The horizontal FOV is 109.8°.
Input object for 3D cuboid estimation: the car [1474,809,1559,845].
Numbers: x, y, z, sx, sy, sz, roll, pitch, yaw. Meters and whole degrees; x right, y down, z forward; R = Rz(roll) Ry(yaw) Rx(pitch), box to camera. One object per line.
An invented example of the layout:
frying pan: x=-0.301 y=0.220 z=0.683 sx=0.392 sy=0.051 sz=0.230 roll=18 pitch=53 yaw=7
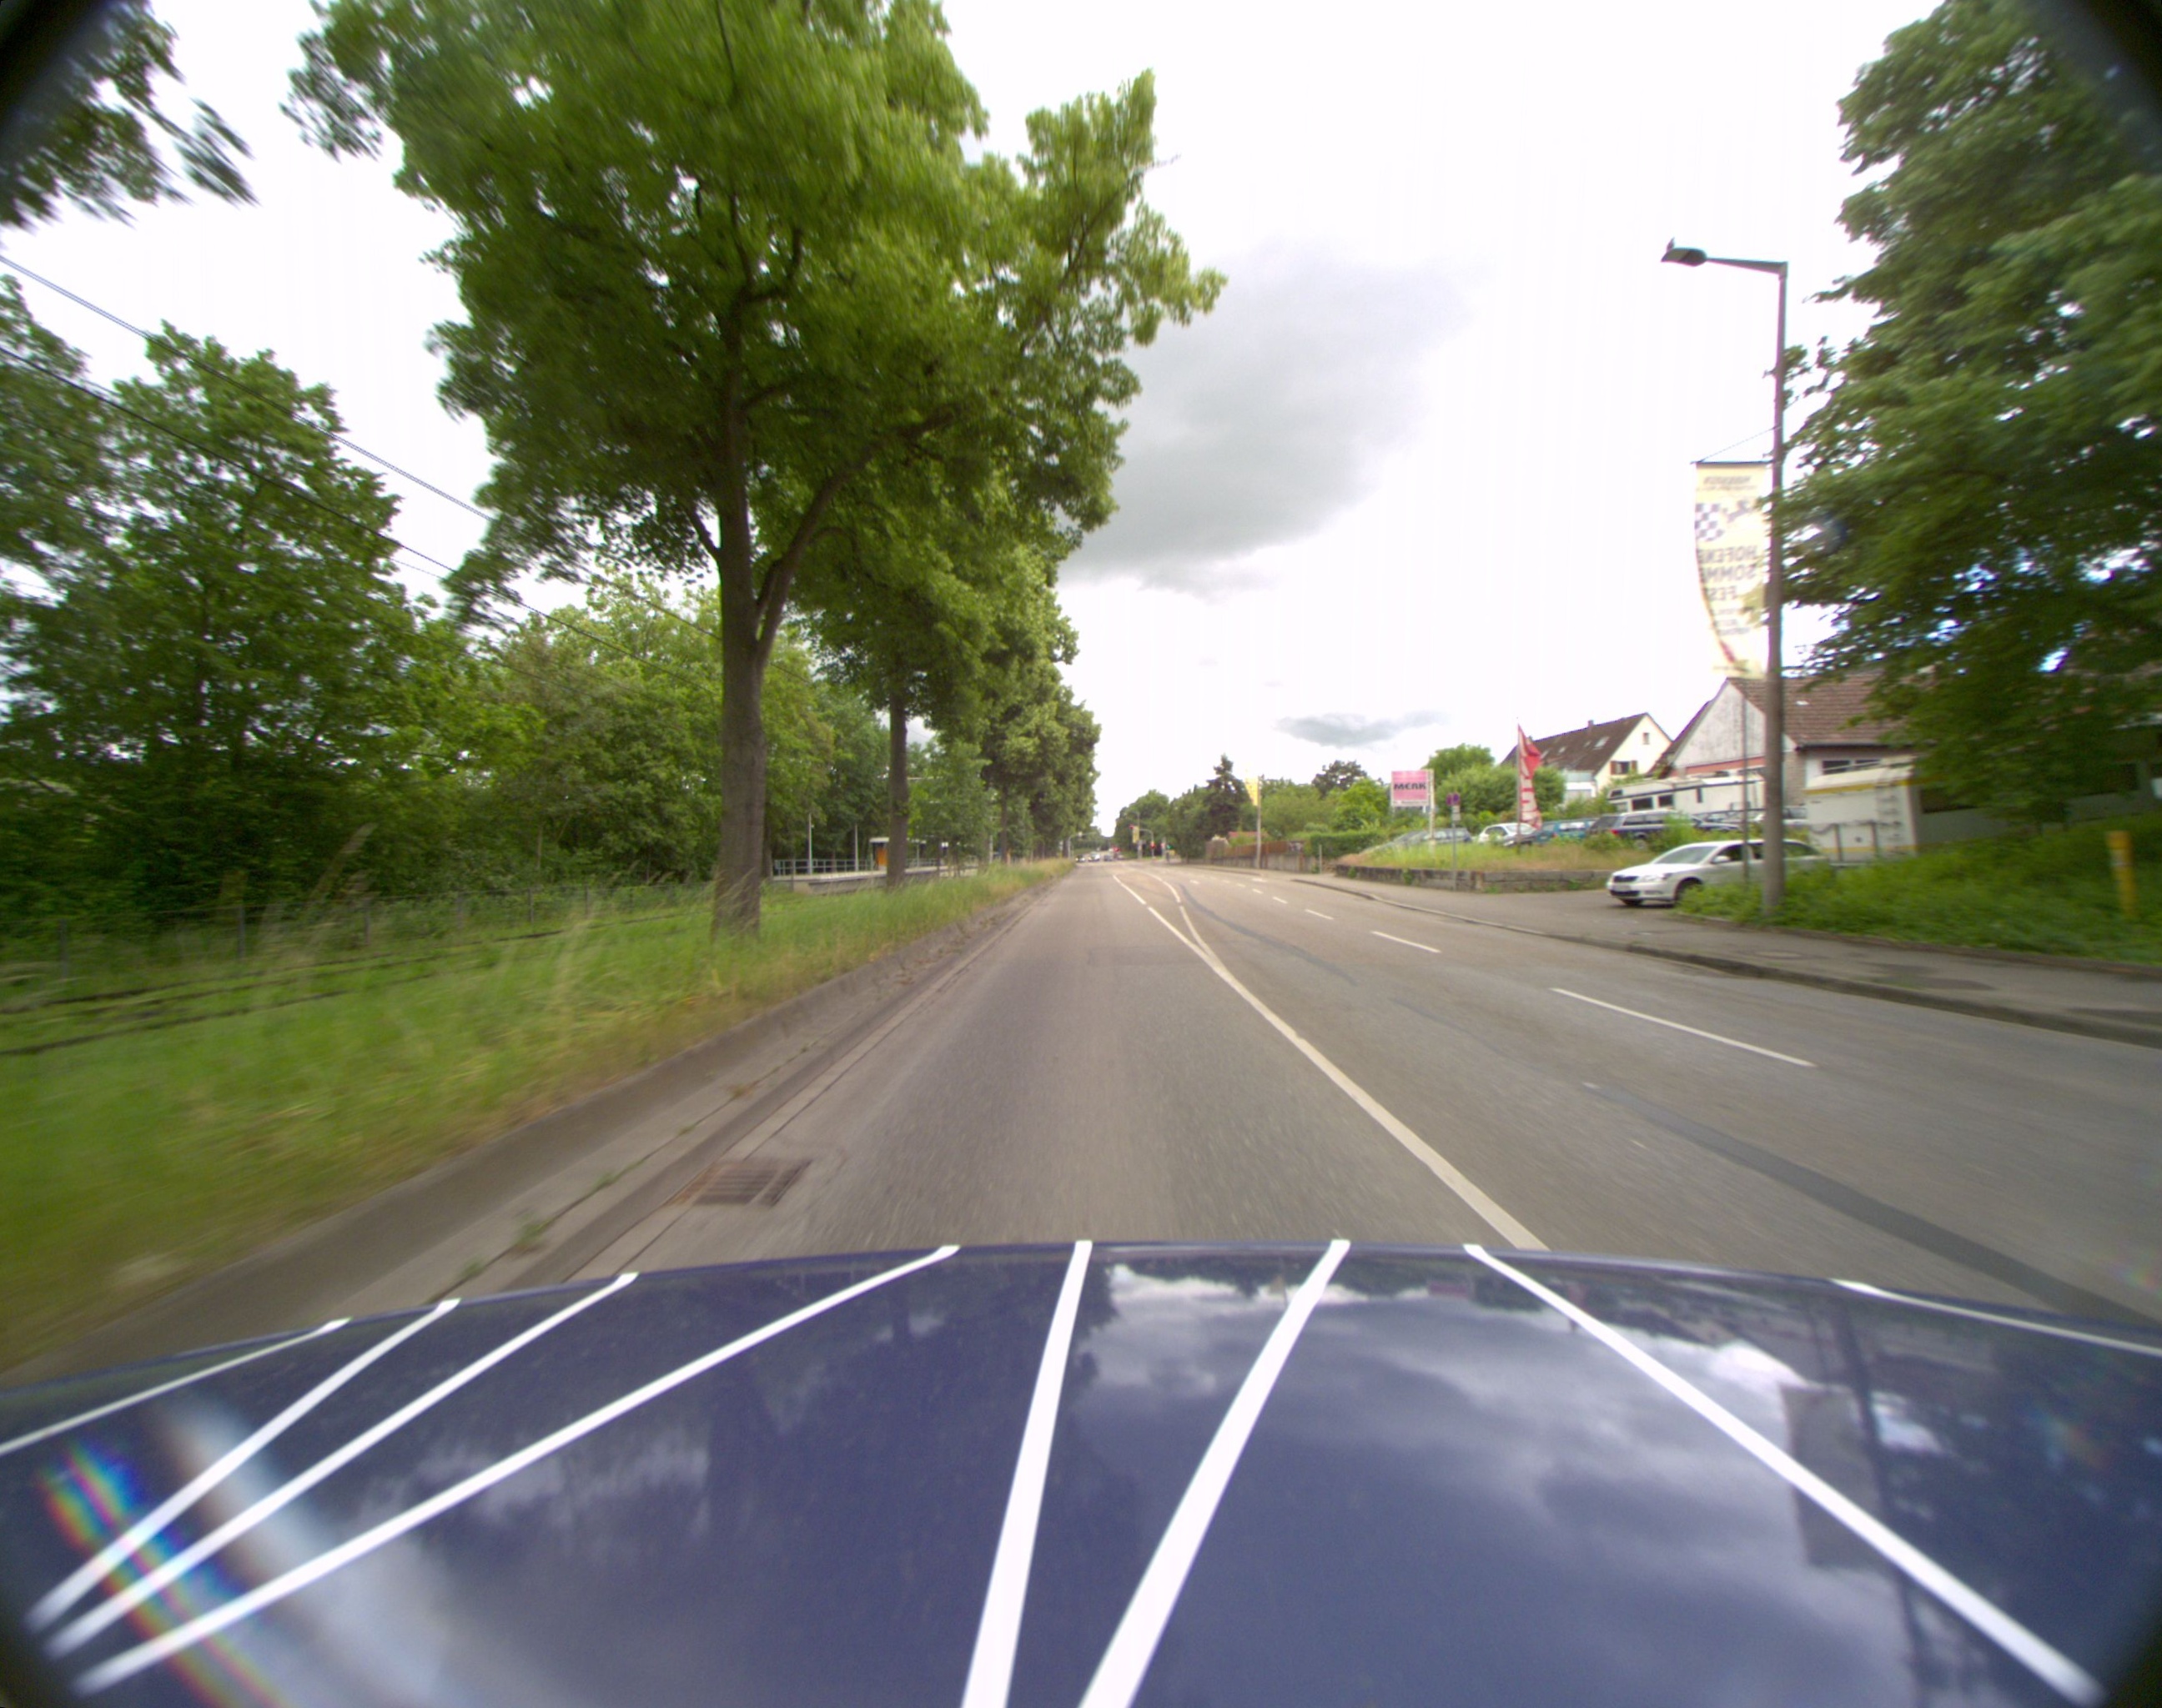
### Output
car: x=20.413 y=-1.222 z=35.810 sx=1.733 sy=1.499 sz=3.999 roll=-2 pitch=1 yaw=1

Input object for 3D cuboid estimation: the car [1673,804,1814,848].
car: x=25.306 y=-1.059 z=29.105 sx=3.883 sy=1.499 sz=1.734 roll=-2 pitch=1 yaw=0

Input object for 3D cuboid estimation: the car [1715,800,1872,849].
car: x=24.912 y=-1.016 z=26.667 sx=3.883 sy=1.499 sz=1.734 roll=-2 pitch=1 yaw=0

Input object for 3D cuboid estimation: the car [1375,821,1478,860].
car: x=15.939 y=-0.617 z=35.210 sx=3.905 sy=1.609 sz=1.879 roll=-2 pitch=1 yaw=1

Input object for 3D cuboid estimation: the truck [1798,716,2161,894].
truck: x=21.390 y=-1.099 z=17.630 sx=6.923 sy=3.609 sz=2.658 roll=-2 pitch=1 yaw=1

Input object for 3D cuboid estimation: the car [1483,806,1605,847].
car: x=19.183 y=-1.128 z=31.580 sx=3.997 sy=1.499 sz=1.734 roll=-2 pitch=1 yaw=1

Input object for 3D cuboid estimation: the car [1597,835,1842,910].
car: x=14.585 y=0.420 z=17.508 sx=4.220 sy=1.483 sz=1.749 roll=-2 pitch=-1 yaw=-3

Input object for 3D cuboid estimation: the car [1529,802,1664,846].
car: x=19.786 y=-1.126 z=29.302 sx=3.997 sy=1.499 sz=1.734 roll=-2 pitch=1 yaw=1
